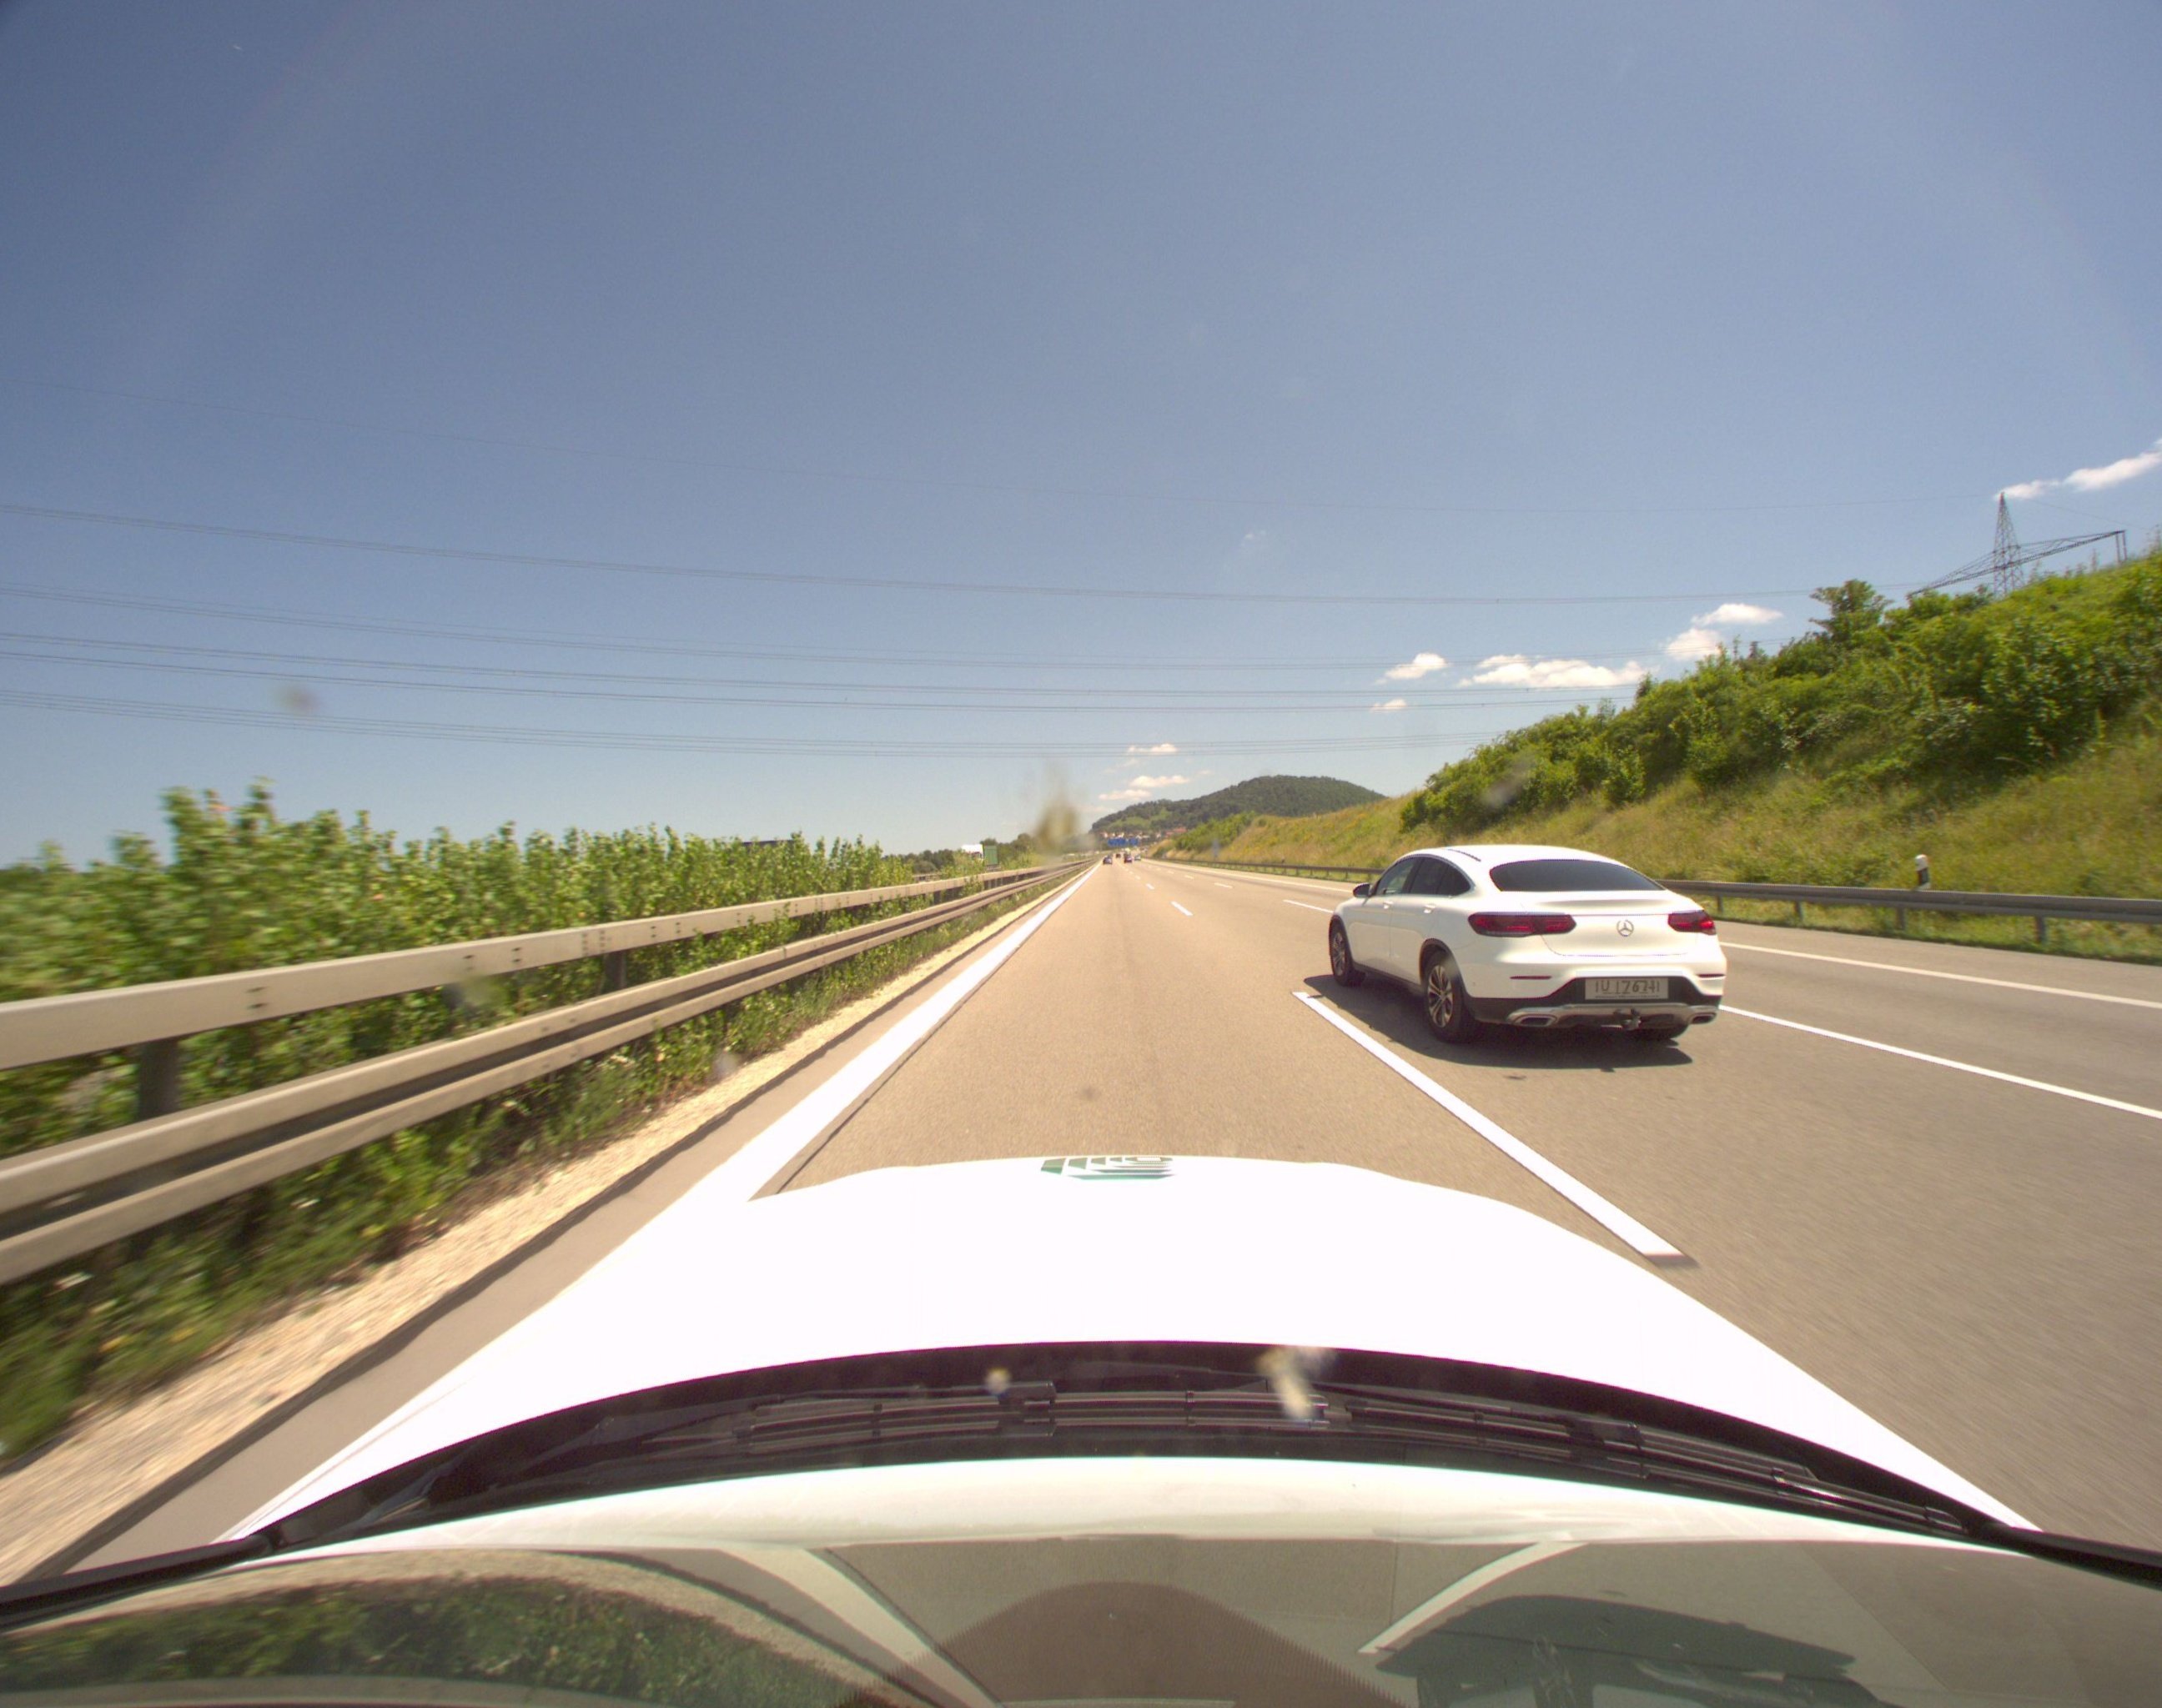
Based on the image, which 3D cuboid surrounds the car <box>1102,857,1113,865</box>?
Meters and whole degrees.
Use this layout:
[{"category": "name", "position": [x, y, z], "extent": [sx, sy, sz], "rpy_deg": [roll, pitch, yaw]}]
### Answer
[{"category": "car", "position": [4.911, 1.301, 149.181], "extent": [1.985, 1.389, 4.002], "rpy_deg": [0, -1, 2]}]

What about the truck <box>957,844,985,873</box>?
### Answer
[{"category": "truck", "position": [-13.982, 0.624, 103.896], "extent": [2.714, 3.559, 5.901], "rpy_deg": [0, -1, 1]}]

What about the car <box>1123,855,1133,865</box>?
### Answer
[{"category": "car", "position": [9.792, 1.218, 168.643], "extent": [1.985, 2.014, 4.002], "rpy_deg": [0, -1, 2]}]

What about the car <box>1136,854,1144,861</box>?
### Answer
[{"category": "car", "position": [15.853, 1.044, 220.742], "extent": [1.986, 1.818, 4.002], "rpy_deg": [-3, 0, 2]}]

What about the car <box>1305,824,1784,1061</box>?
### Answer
[{"category": "car", "position": [3.840, 0.632, 8.112], "extent": [1.907, 1.581, 5.232], "rpy_deg": [0, -1, 2]}]
